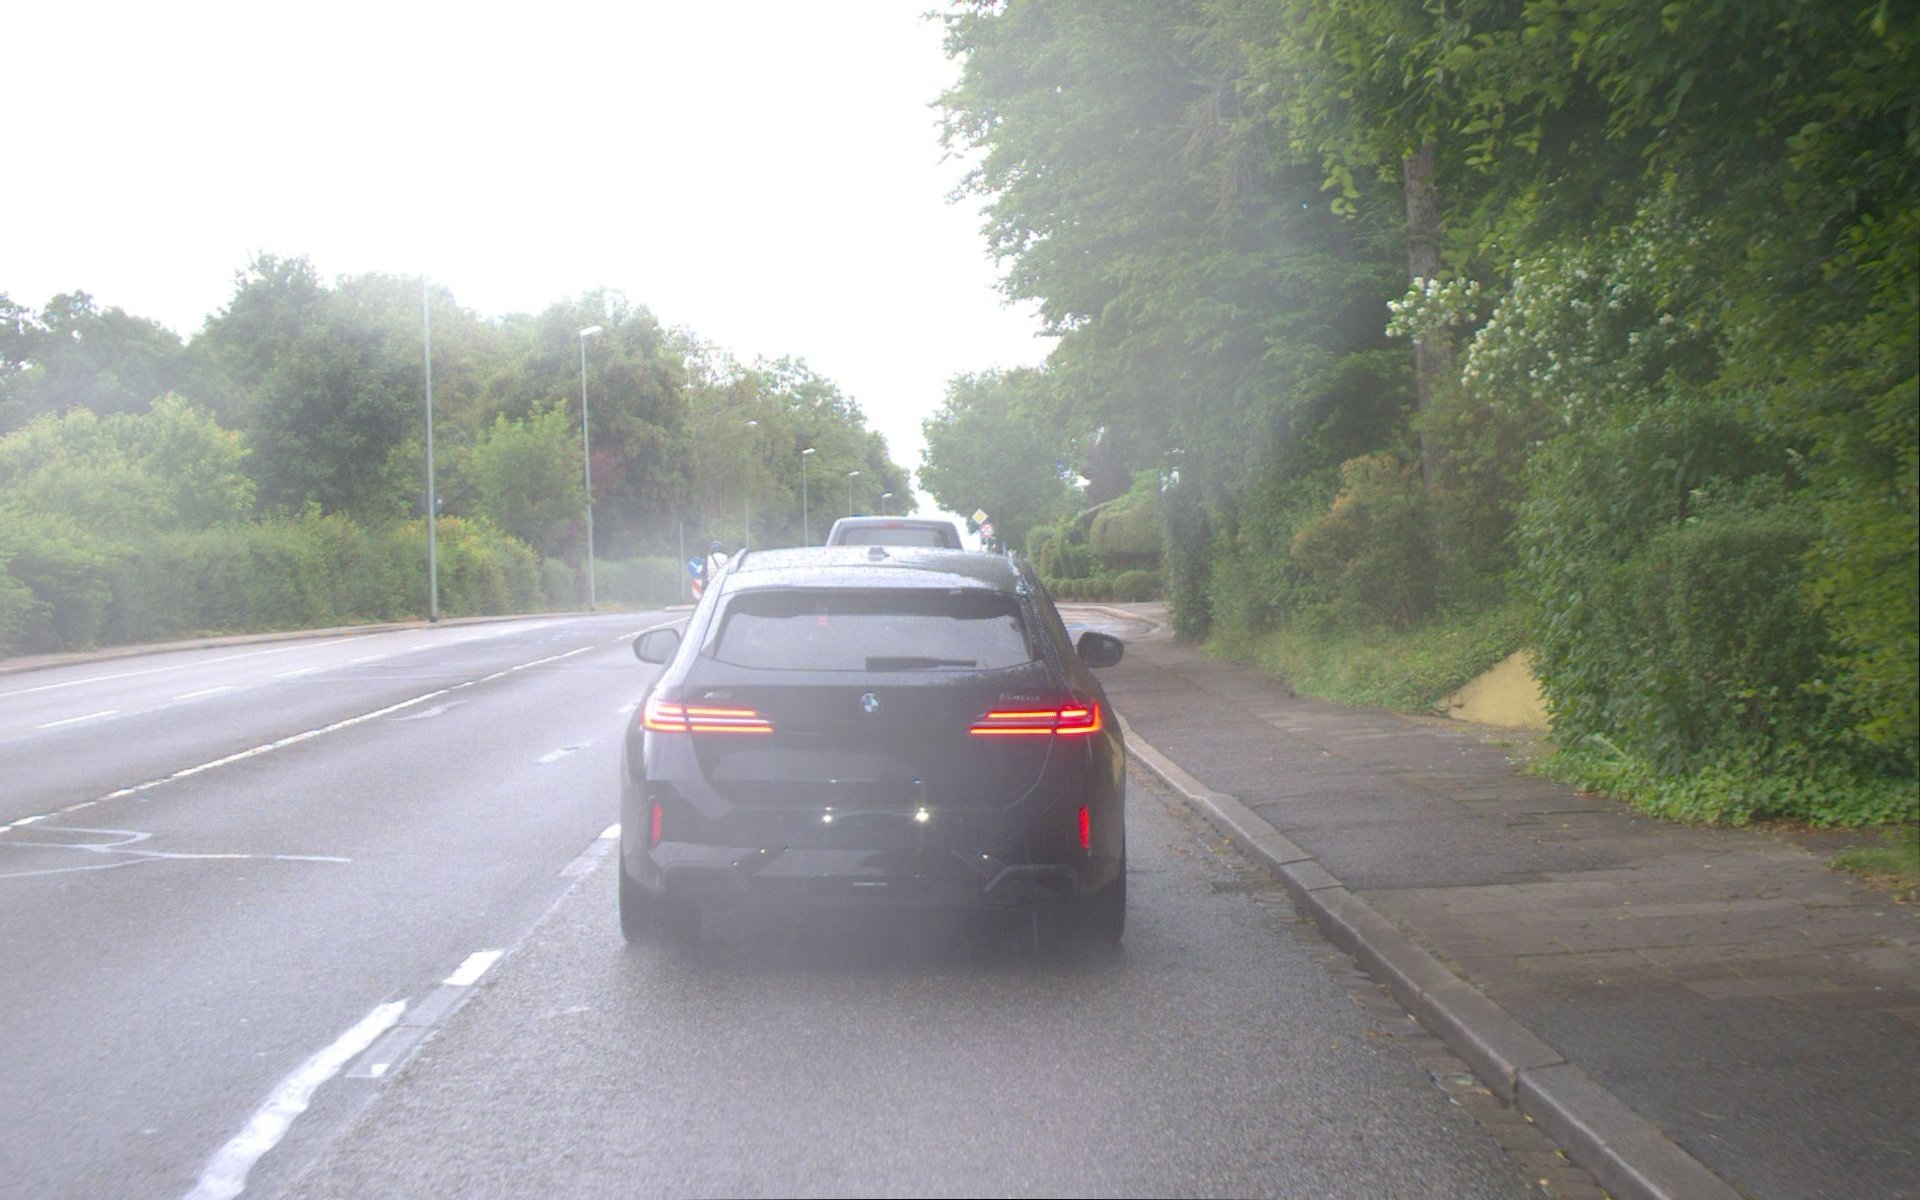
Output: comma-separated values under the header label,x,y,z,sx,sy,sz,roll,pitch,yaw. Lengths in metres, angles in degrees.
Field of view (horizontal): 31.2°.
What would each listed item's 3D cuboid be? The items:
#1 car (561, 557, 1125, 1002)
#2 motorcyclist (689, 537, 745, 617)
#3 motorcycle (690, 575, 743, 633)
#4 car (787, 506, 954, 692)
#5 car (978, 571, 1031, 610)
label,x,y,z,sx,sy,sz,roll,pitch,yaw
car,-0.386,0.596,13.689,1.897,1.484,4.000,1,0,0
motorcyclist,-4.821,-0.456,68.277,1.039,1.562,0.855,1,0,-1
motorcycle,-4.838,0.080,68.417,0.876,1.120,2.741,1,0,-1
car,-0.934,-0.039,36.915,1.629,1.827,4.000,-2,1,-1
car,1.754,-0.389,134.629,1.935,1.437,4.408,-1,0,2
